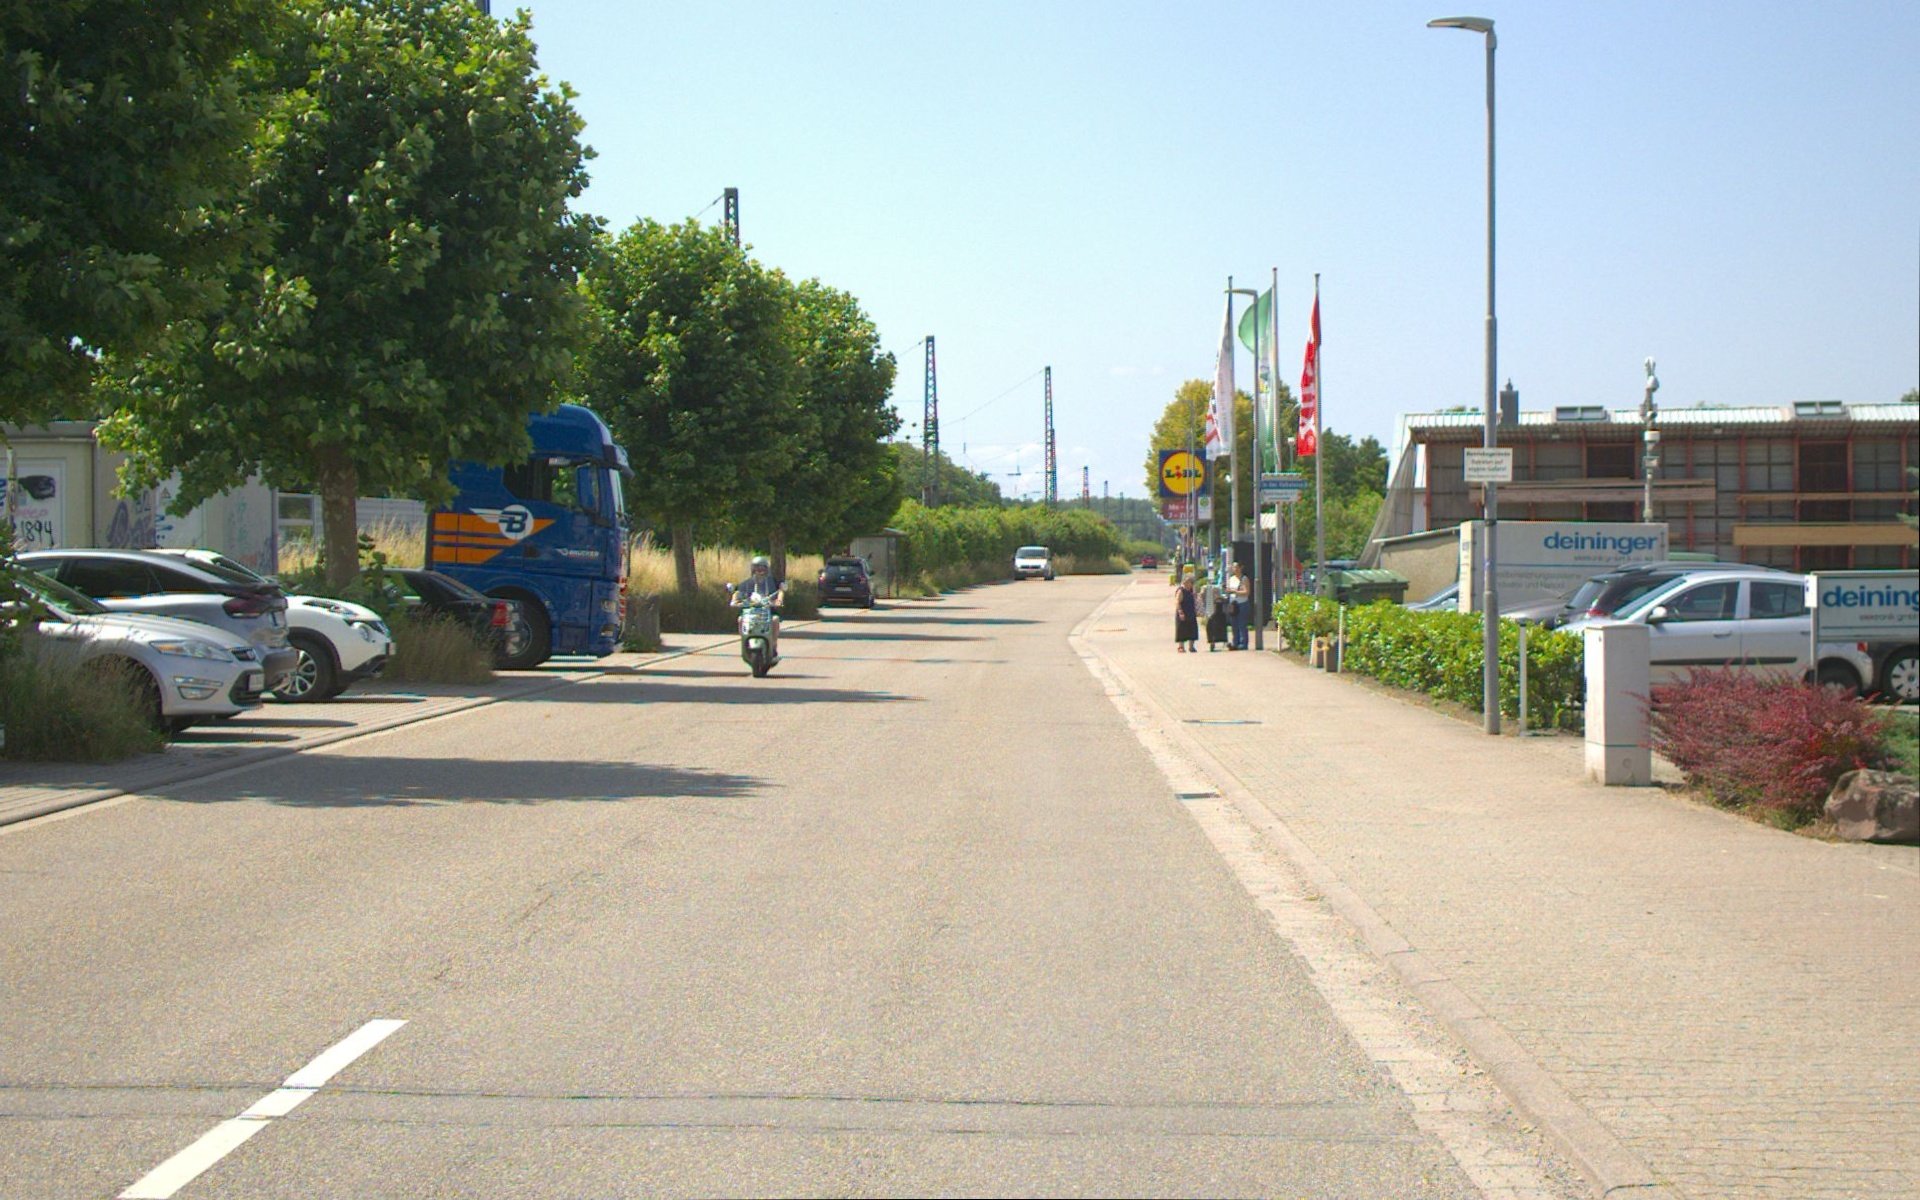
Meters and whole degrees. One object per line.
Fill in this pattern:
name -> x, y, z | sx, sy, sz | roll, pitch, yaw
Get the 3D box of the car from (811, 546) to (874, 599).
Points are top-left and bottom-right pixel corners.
car -> -3.660, -0.876, 107.381 | 1.741, 1.590, 3.579 | 0, 1, 1

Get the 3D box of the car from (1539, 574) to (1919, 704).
car -> 9.063, 0.433, 39.489 | 4.474, 1.435, 1.815 | 0, 1, -2

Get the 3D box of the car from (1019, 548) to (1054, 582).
car -> 4.257, -1.945, 190.093 | 1.838, 1.852, 4.484 | 0, 1, 2

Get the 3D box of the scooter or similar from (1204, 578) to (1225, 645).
scooter or similar -> 4.547, 0.210, 61.405 | 0.334, 1.194, 0.397 | -1, -1, 2

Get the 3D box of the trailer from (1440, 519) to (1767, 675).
trailer -> 8.505, -0.046, 45.706 | 3.987, 2.007, 2.000 | 0, 1, 2

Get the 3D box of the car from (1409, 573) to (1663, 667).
car -> 9.287, 0.309, 55.614 | 3.845, 1.450, 1.817 | 1, 1, 3

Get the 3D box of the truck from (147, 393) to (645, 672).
truck -> -7.904, -0.949, 48.788 | 6.613, 3.810, 2.664 | 0, 0, 0

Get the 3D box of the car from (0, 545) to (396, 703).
car -> -8.028, 0.232, 36.021 | 3.970, 1.612, 1.851 | 0, 1, -2

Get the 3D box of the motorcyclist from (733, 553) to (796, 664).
motorcyclist -> -2.680, 0.111, 47.241 | 0.775, 1.504, 0.921 | 0, 0, 2

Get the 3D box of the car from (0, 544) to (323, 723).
car -> -7.896, 0.281, 30.867 | 3.987, 1.542, 2.000 | 0, 0, 0

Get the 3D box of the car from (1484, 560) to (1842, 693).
car -> 8.739, 0.342, 42.929 | 4.033, 1.569, 1.714 | -1, -1, -4

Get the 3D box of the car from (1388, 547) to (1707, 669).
car -> 8.337, 0.130, 49.016 | 4.212, 1.628, 1.801 | -1, -1, 0

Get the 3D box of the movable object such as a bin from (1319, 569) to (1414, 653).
movable object such as a bin -> 7.214, 0.187, 61.019 | 1.263, 1.453, 1.049 | 1, 1, -36

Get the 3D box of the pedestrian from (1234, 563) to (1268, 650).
pedestrian -> 5.182, 0.120, 61.228 | 0.535, 1.534, 0.511 | -1, -1, 1

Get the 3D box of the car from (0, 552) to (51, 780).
car -> -8.224, 0.440, 22.456 | 4.073, 1.467, 1.787 | 0, 0, 2

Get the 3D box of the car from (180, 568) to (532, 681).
car -> -7.748, 0.298, 44.347 | 4.208, 1.390, 1.872 | 0, 0, 0

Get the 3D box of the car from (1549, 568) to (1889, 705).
car -> 8.129, 0.376, 37.028 | 3.353, 1.397, 1.769 | -1, 1, 5

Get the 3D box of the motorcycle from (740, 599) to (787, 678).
motorcycle -> -2.687, 0.513, 47.096 | 0.463, 1.047, 1.955 | 0, 0, 2

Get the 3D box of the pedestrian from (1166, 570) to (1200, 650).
pedestrian -> 3.984, 0.179, 61.429 | 0.565, 1.400, 0.584 | -1, -1, 1

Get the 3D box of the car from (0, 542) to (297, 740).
car -> -7.811, 0.298, 28.191 | 4.338, 1.527, 1.926 | 1, 1, 1
